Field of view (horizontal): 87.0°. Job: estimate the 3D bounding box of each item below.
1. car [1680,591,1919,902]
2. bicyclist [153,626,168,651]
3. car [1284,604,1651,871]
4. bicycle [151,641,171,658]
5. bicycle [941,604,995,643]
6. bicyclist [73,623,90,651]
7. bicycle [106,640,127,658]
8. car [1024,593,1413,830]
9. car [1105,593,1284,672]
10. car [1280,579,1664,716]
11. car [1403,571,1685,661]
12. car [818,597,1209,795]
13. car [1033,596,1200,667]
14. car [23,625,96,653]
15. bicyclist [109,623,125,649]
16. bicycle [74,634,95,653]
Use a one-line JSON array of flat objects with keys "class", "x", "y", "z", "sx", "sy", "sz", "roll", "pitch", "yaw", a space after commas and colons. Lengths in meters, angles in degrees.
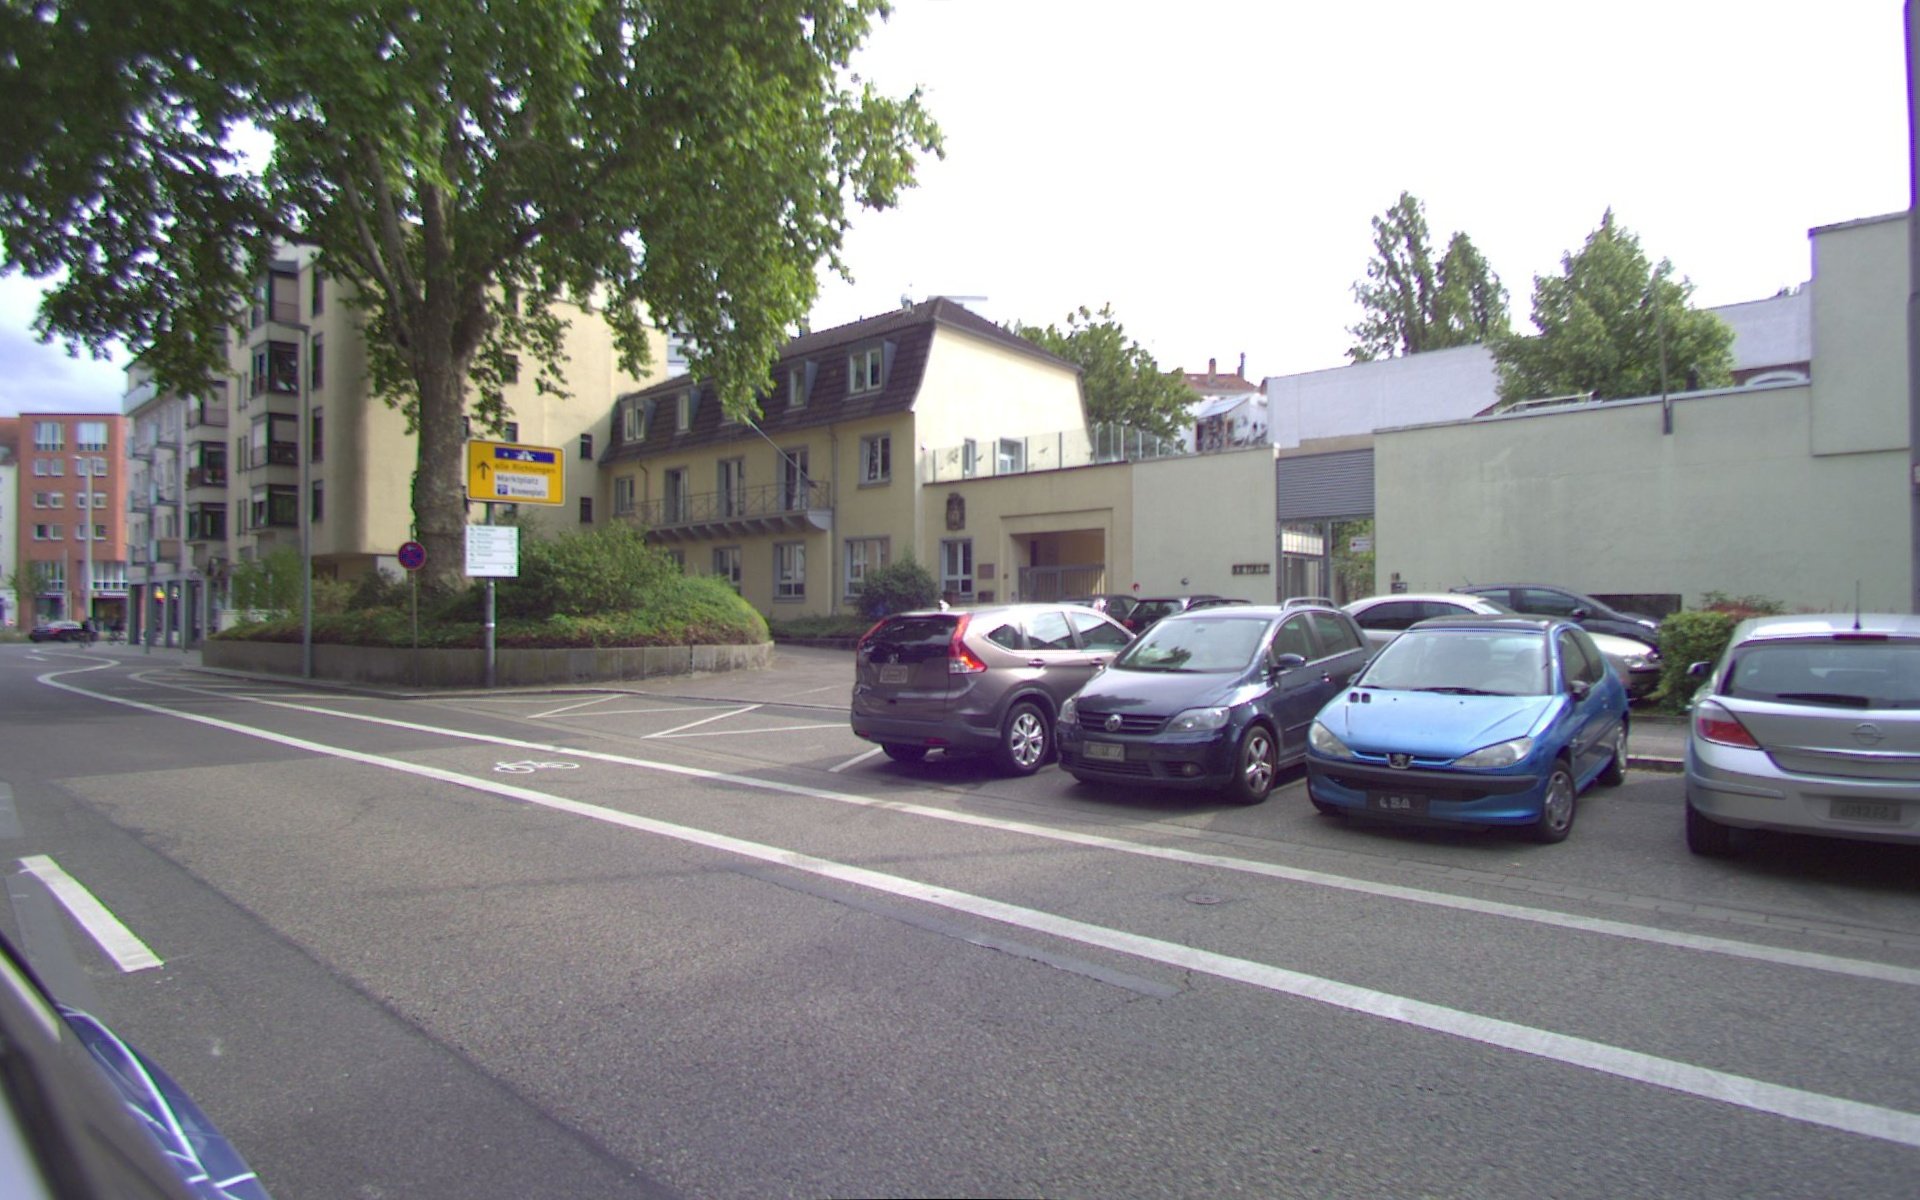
[{"class": "car", "x": 5.967, "y": 0.744, "z": 6.632, "sx": 1.752, "sy": 1.496, "sz": 3.645, "roll": -2, "pitch": 0, "yaw": 40}, {"class": "bicyclist", "x": -50.917, "y": 2.467, "z": 64.440, "sx": 0.649, "sy": 1.537, "sz": 0.841, "roll": -1, "pitch": -1, "yaw": -45}, {"class": "car", "x": 4.096, "y": 0.829, "z": 7.865, "sx": 1.752, "sy": 1.437, "sz": 3.645, "roll": -2, "pitch": 0, "yaw": 40}, {"class": "bicycle", "x": -50.700, "y": 3.133, "z": 64.207, "sx": 0.729, "sy": 1.014, "sz": 2.253, "roll": -2, "pitch": -1, "yaw": -45}, {"class": "bicycle", "x": 0.237, "y": 0.660, "z": 28.826, "sx": 0.399, "sy": 1.052, "sz": 1.779, "roll": -3, "pitch": -1, "yaw": 42}, {"class": "bicyclist", "x": -49.633, "y": 2.107, "z": 57.183, "sx": 0.649, "sy": 1.537, "sz": 1.077, "roll": -1, "pitch": -1, "yaw": -45}, {"class": "bicycle", "x": -51.435, "y": 3.007, "z": 61.702, "sx": 1.976, "sy": 1.014, "sz": 0.729, "roll": -3, "pitch": -1, "yaw": 44}, {"class": "car", "x": 2.512, "y": 0.804, "z": 9.221, "sx": 1.753, "sy": 1.581, "sz": 3.898, "roll": -2, "pitch": 0, "yaw": 43}, {"class": "car", "x": 5.087, "y": 0.634, "z": 21.677, "sx": 1.919, "sy": 1.477, "sz": 3.942, "roll": -1, "pitch": 0, "yaw": 45}, {"class": "car", "x": 6.665, "y": 0.572, "z": 13.454, "sx": 4.232, "sy": 1.530, "sz": 1.739, "roll": -2, "pitch": 0, "yaw": 41}, {"class": "car", "x": 9.969, "y": 0.299, "z": 17.416, "sx": 3.991, "sy": 1.342, "sz": 1.796, "roll": -3, "pitch": -1, "yaw": 36}, {"class": "car", "x": 0.751, "y": 0.852, "z": 10.870, "sx": 1.967, "sy": 1.618, "sz": 4.212, "roll": -3, "pitch": -1, "yaw": 41}, {"class": "car", "x": 3.716, "y": 0.676, "z": 23.581, "sx": 1.892, "sy": 1.431, "sz": 3.942, "roll": -1, "pitch": 1, "yaw": 45}, {"class": "car", "x": -57.115, "y": 2.514, "z": 64.292, "sx": 1.785, "sy": 1.419, "sz": 4.622, "roll": -3, "pitch": -5, "yaw": -19}, {"class": "bicyclist", "x": -51.176, "y": 2.209, "z": 61.406, "sx": 0.649, "sy": 1.537, "sz": 0.857, "roll": -1, "pitch": -1, "yaw": -45}, {"class": "bicycle", "x": -49.801, "y": 2.463, "z": 57.553, "sx": 2.195, "sy": 1.014, "sz": 0.729, "roll": -3, "pitch": -1, "yaw": 44}]
